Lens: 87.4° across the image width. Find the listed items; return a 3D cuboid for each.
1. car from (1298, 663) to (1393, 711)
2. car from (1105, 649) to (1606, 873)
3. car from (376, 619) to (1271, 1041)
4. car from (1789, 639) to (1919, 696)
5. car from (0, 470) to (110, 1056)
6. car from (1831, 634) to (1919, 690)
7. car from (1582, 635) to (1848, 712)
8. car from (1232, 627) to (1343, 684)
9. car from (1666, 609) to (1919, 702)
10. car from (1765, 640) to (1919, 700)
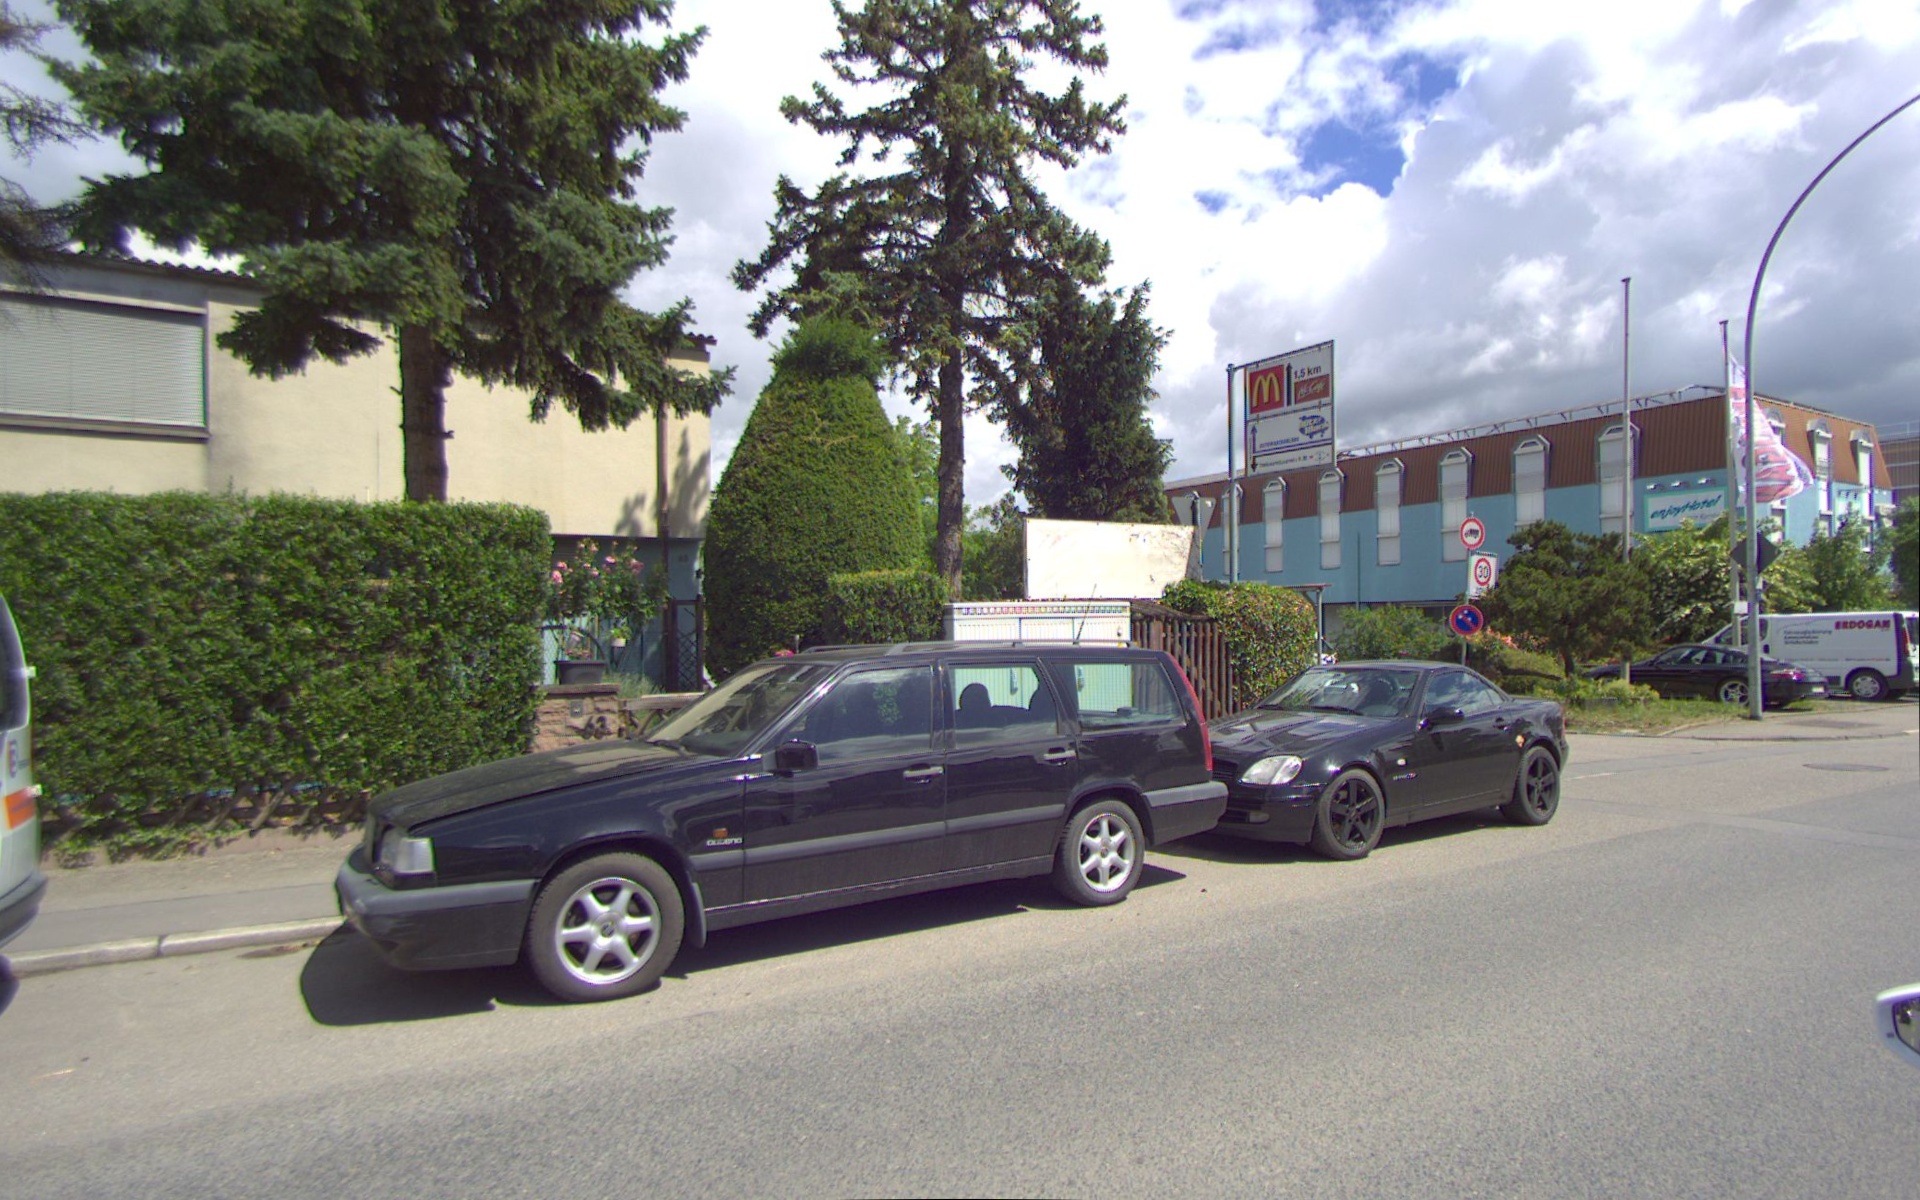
[{"bbox_3d":[16.401,3.645,42.737,3.664,1.728,1.983,1,1,-32],"label":"car"},{"bbox_3d":[3.250,1.106,8.005,4.072,1.320,1.622,1,-5,-33],"label":"car"},{"bbox_3d":[-0.552,0.904,5.553,4.592,1.491,1.735,1,-5,-32],"label":"car"},{"bbox_3d":[24.222,1.709,25.913,1.848,1.373,3.972,1,-2,-27],"label":"car"},{"bbox_3d":[-5.247,0.555,2.662,4.307,1.862,1.735,1,-4,-32],"label":"car"},{"bbox_3d":[26.752,1.707,27.282,1.849,1.498,4.355,2,-2,-29],"label":"car"},{"bbox_3d":[15.342,1.423,20.627,1.850,1.220,3.966,1,1,-31],"label":"car"},{"bbox_3d":[17.168,2.849,52.909,2.253,2.580,5.439,1,1,-30],"label":"car"},{"bbox_3d":[19.926,1.247,23.967,2.093,1.998,4.624,1,-2,-33],"label":"car"},{"bbox_3d":[22.454,1.684,24.550,1.850,1.332,3.967,2,-2,-31],"label":"car"}]
